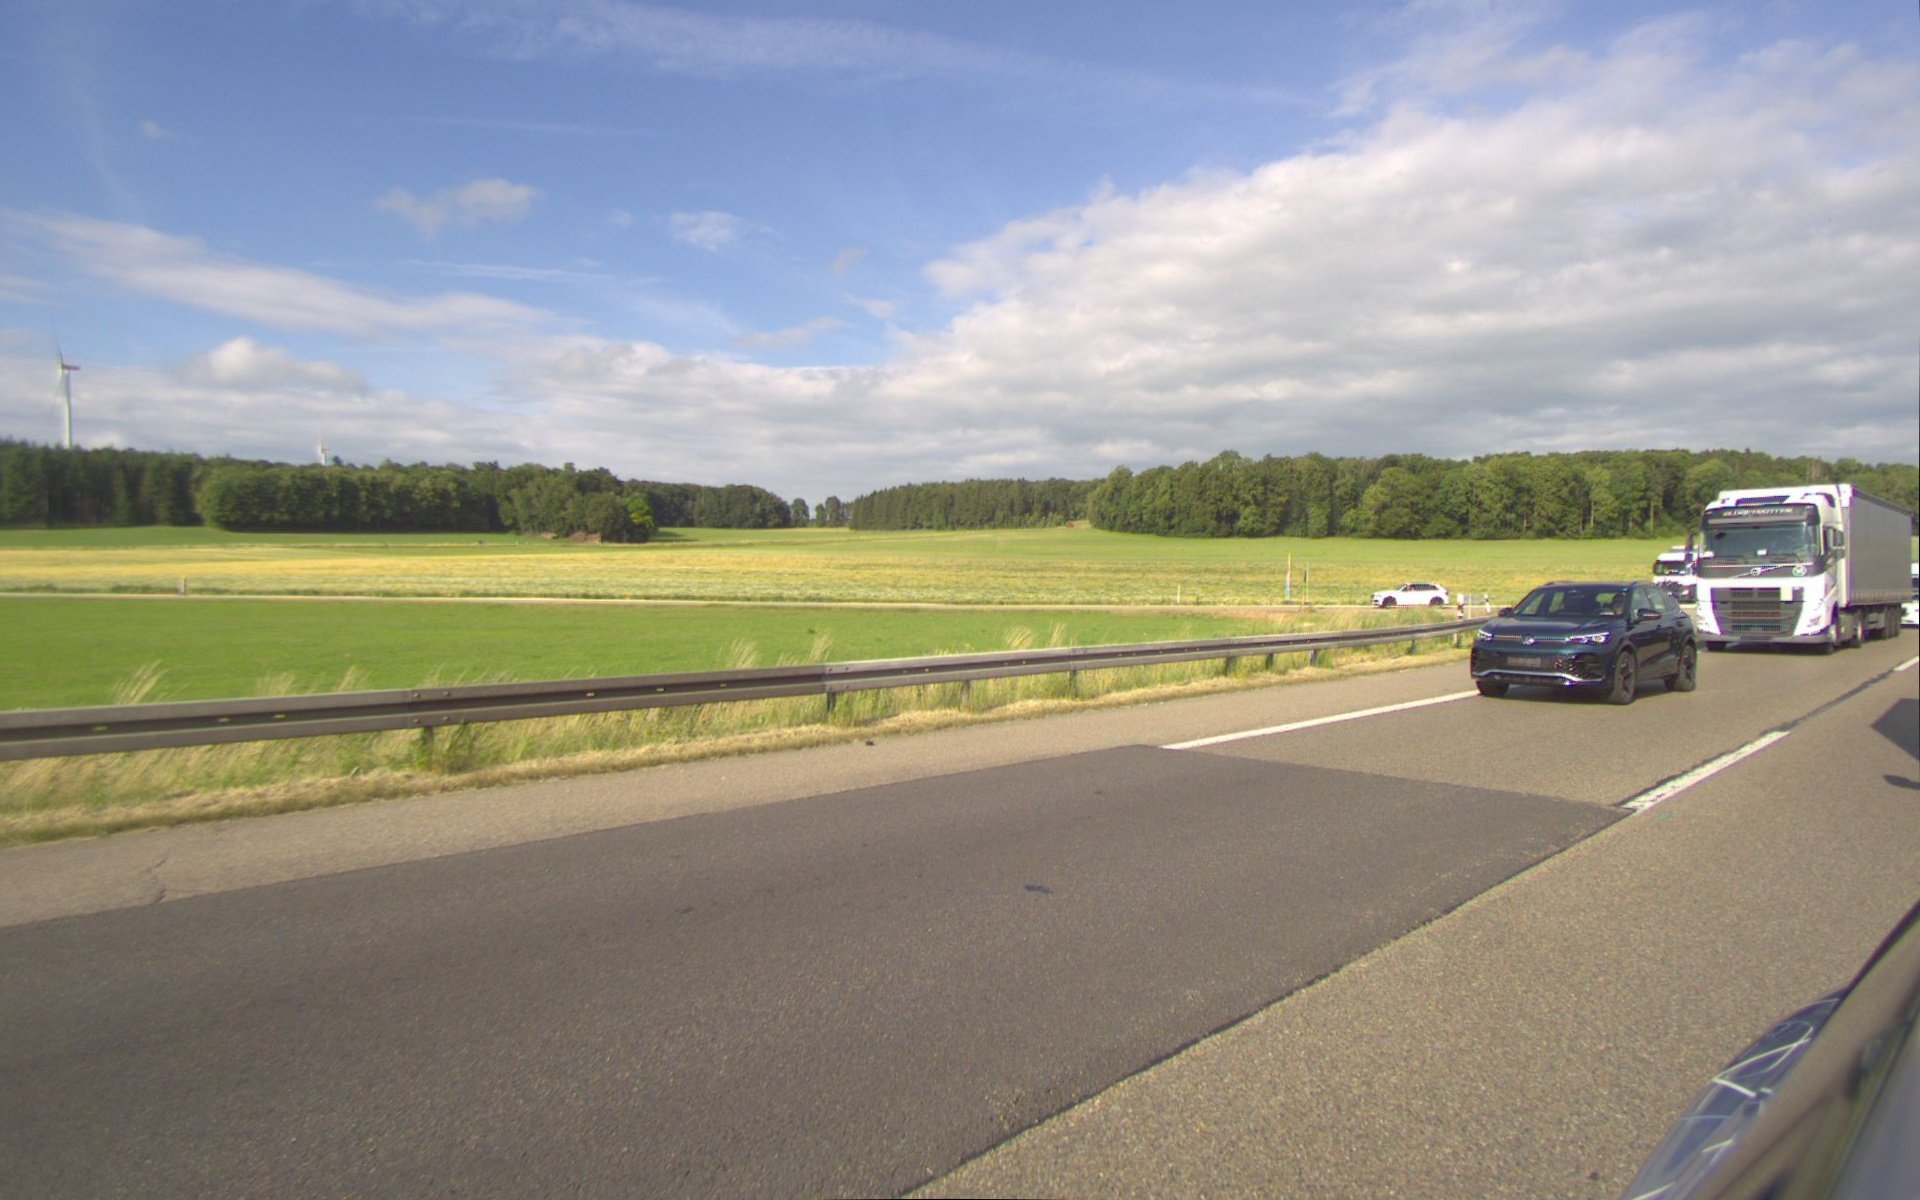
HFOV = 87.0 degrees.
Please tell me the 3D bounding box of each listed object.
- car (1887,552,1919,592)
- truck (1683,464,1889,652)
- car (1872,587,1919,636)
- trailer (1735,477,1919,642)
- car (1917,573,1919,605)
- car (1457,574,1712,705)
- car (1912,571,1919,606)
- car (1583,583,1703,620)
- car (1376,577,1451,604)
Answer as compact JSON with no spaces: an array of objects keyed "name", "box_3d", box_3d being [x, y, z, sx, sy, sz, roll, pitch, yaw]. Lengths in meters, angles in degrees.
[{"name":"car","box_3d":[42.054,-1.208,44.117,3.931,1.678,1.997,-1,1,-41]},{"name":"truck","box_3d":[20.423,-0.963,24.905,6.387,4.040,2.840,-1,0,-41]},{"name":"car","box_3d":[34.914,0.384,36.915,3.931,1.678,1.997,-1,1,-41]},{"name":"trailer","box_3d":[25.989,-1.077,29.654,11.916,4.032,2.824,-1,1,-41]},{"name":"car","box_3d":[52.064,-0.614,53.345,3.931,1.678,1.997,-1,1,-41]},{"name":"car","box_3d":[9.080,0.451,14.598,4.047,1.616,1.997,-1,1,-41]},{"name":"car","box_3d":[48.026,-0.574,49.324,3.931,1.678,1.997,-1,1,-41]},{"name":"car","box_3d":[30.738,0.052,45.553,4.974,1.565,2.004,-1,0,-22]},{"name":"car","box_3d":[28.198,-0.595,63.005,3.941,1.638,1.992,0,0,14]}]
